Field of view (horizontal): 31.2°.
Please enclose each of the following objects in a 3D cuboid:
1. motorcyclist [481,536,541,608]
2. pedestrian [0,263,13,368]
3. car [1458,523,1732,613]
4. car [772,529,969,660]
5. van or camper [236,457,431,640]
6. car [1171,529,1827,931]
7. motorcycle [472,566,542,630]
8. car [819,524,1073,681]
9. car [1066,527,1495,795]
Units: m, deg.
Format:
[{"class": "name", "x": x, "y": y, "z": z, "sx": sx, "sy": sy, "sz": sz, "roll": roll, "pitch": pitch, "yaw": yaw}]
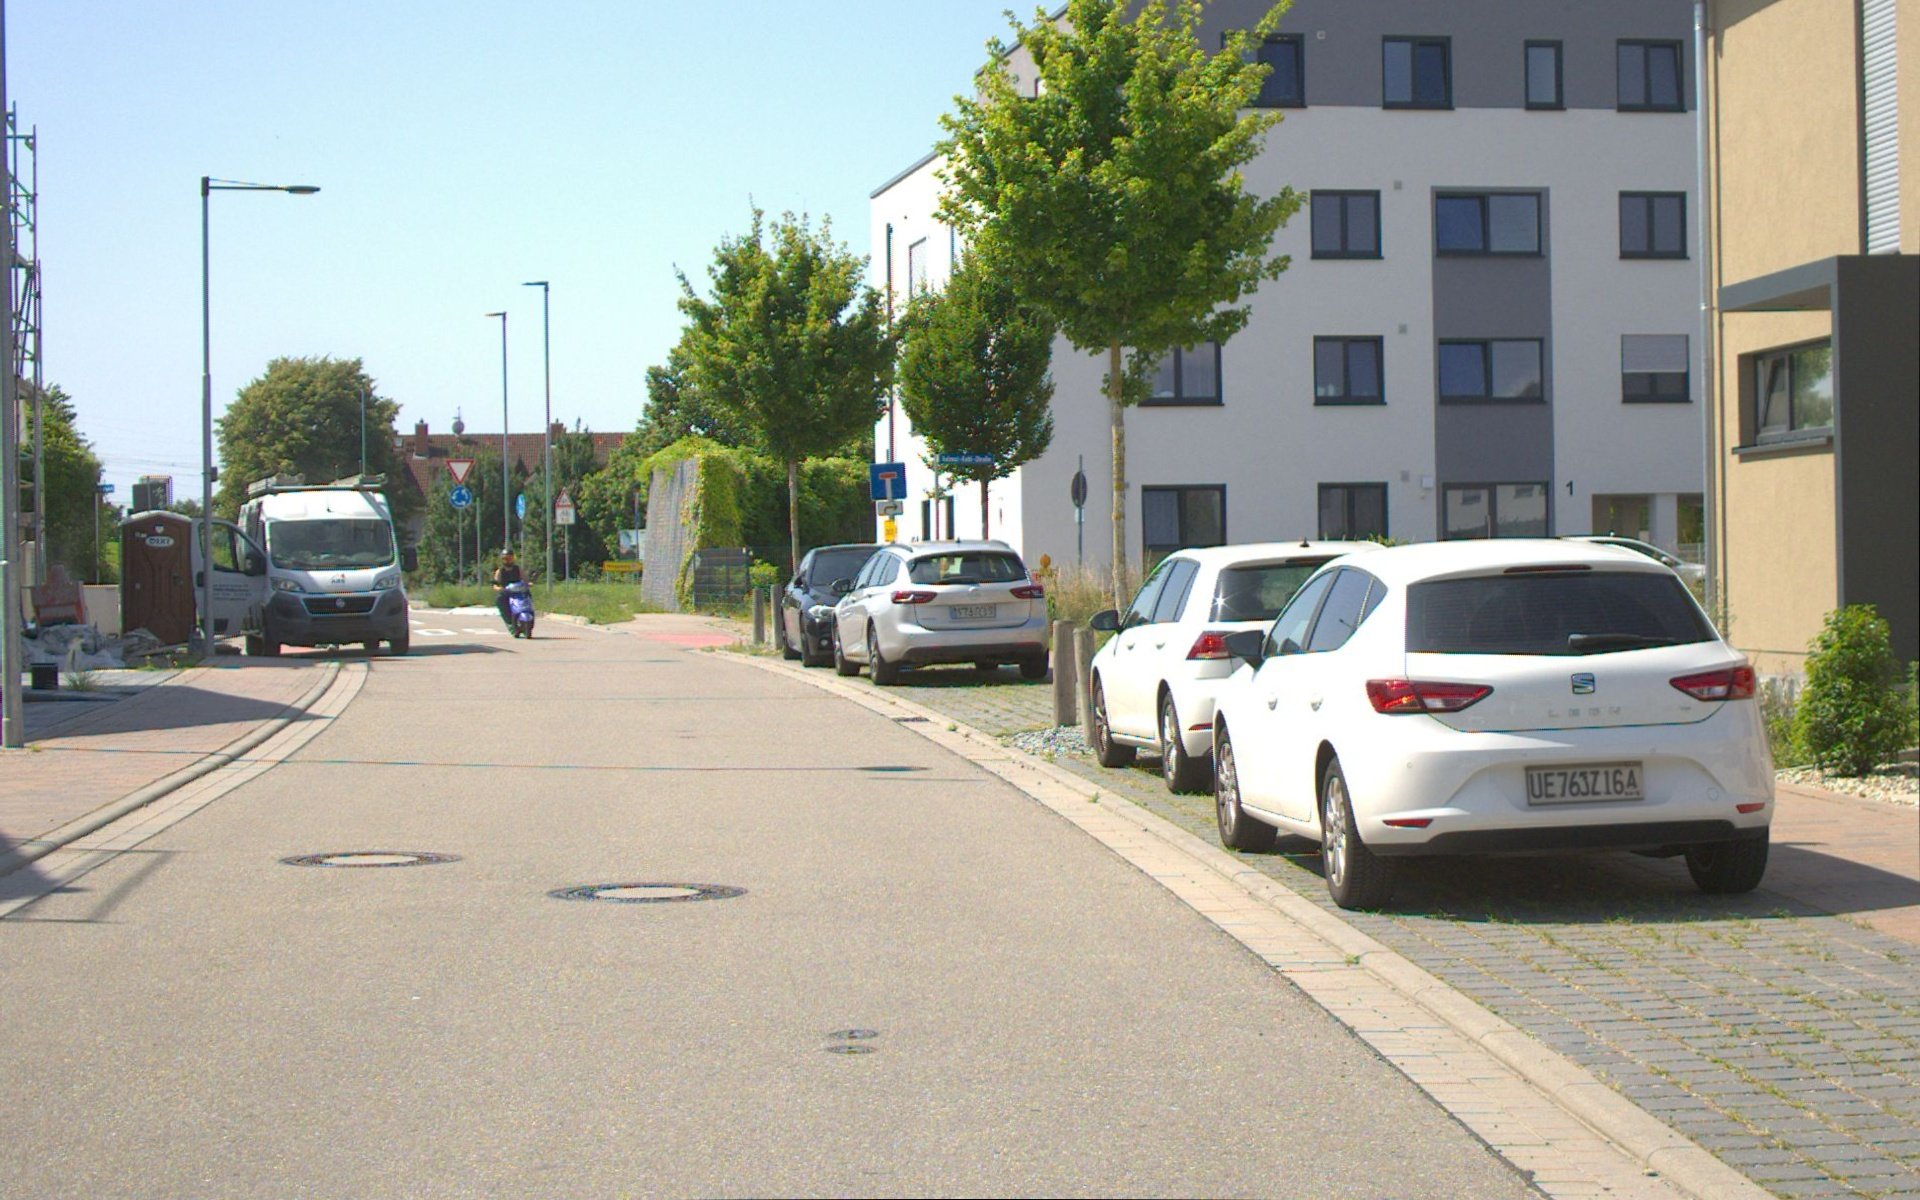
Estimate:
[{"class": "motorcyclist", "x": -7.771, "y": -0.486, "z": 59.468, "sx": 0.924, "sy": 1.218, "sz": 0.804, "roll": -1, "pitch": 2, "yaw": -13}, {"class": "pedestrian", "x": -14.439, "y": -4.236, "z": 51.225, "sx": 0.561, "sy": 1.494, "sz": 0.748, "roll": -1, "pitch": -1, "yaw": -12}, {"class": "car", "x": 10.777, "y": -0.537, "z": 58.441, "sx": 4.157, "sy": 1.431, "sz": 1.883, "roll": -1, "pitch": 0, "yaw": -11}, {"class": "car", "x": -1.204, "y": -0.122, "z": 43.509, "sx": 1.918, "sy": 1.464, "sz": 5.141, "roll": -2, "pitch": 2, "yaw": -7}, {"class": "van or camper", "x": -9.462, "y": -0.735, "z": 51.477, "sx": 2.272, "sy": 2.544, "sz": 6.369, "roll": -1, "pitch": 0, "yaw": -15}, {"class": "car", "x": 2.192, "y": 0.453, "z": 15.306, "sx": 1.814, "sy": 1.451, "sz": 4.565, "roll": -2, "pitch": 1, "yaw": -5}, {"class": "motorcycle", "x": -7.894, "y": -0.052, "z": 59.857, "sx": 0.955, "sy": 1.031, "sz": 2.437, "roll": -1, "pitch": 2, "yaw": -13}, {"class": "car", "x": -0.243, "y": -0.031, "z": 37.515, "sx": 1.918, "sy": 1.506, "sz": 5.296, "roll": -2, "pitch": 2, "yaw": -9}, {"class": "car", "x": 1.888, "y": 0.293, "z": 21.660, "sx": 1.779, "sy": 1.421, "sz": 4.515, "roll": -2, "pitch": 2, "yaw": -6}]
